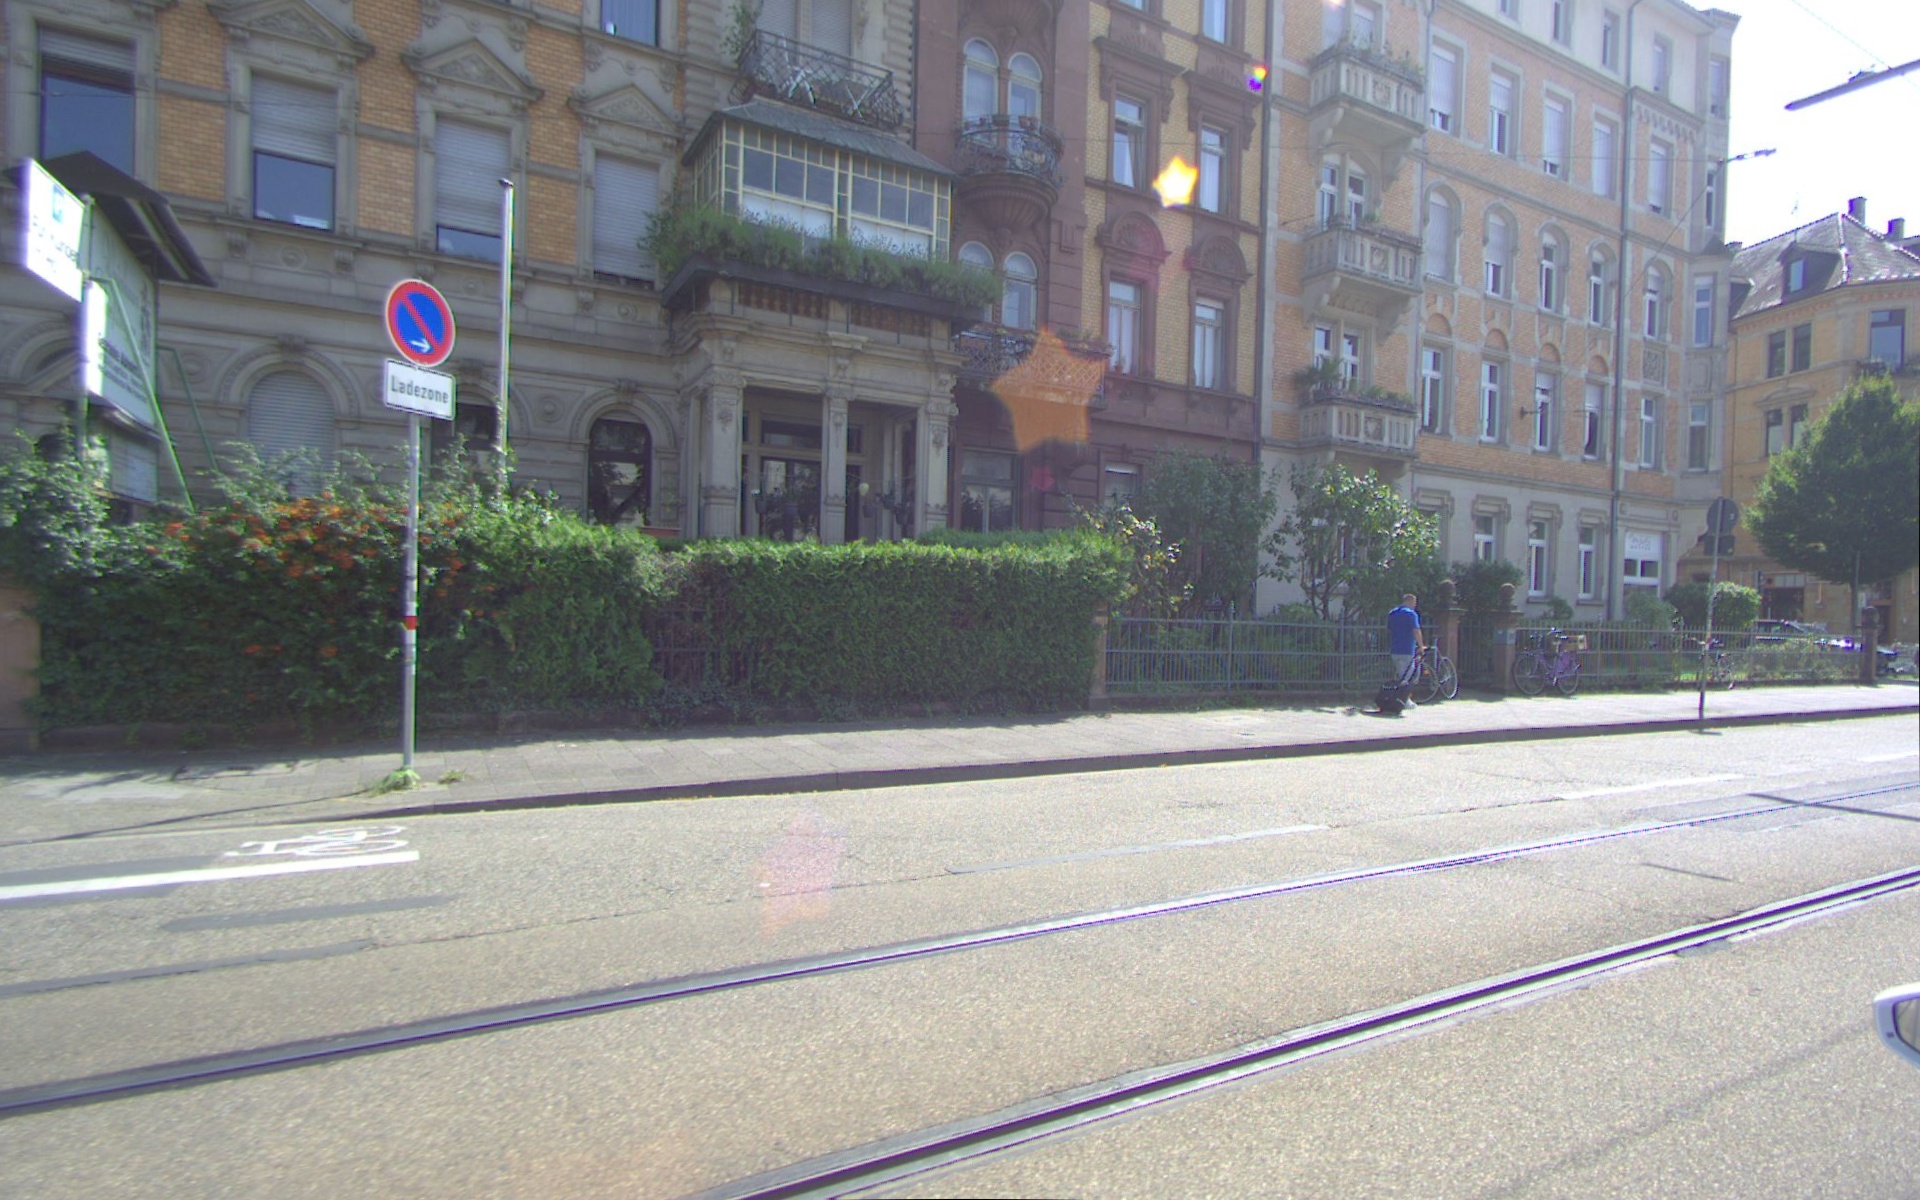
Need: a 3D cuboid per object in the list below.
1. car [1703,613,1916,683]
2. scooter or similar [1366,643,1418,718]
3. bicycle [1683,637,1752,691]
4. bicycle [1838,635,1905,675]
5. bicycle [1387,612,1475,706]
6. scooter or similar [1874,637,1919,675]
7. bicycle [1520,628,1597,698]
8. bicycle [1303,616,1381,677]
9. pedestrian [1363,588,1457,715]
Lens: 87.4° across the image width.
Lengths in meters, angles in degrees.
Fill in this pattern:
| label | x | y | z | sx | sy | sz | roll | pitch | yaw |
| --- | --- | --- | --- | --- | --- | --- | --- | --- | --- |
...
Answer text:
| label | x | y | z | sx | sy | sz | roll | pitch | yaw |
| --- | --- | --- | --- | --- | --- | --- | --- | --- | --- |
| car | 23.371 | 1.270 | 27.812 | 1.855 | 1.616 | 4.086 | 2 | 1 | -27 |
| scooter or similar | 6.063 | 1.120 | 14.101 | 0.579 | 0.995 | 0.397 | 1 | 2 | -37 |
| bicycle | 15.490 | 1.287 | 20.528 | 1.811 | 1.052 | 0.388 | 1 | 1 | -29 |
| bicycle | 27.495 | 1.658 | 30.326 | 1.429 | 1.113 | 0.389 | 2 | 1 | 39 |
| bicycle | 7.470 | 0.917 | 15.906 | 1.562 | 1.425 | 0.388 | 1 | 1 | -29 |
| scooter or similar | 28.777 | 1.709 | 30.735 | 1.368 | 1.113 | 0.595 | 1 | 1 | -19 |
| bicycle | 10.502 | 1.087 | 17.612 | 1.562 | 1.163 | 0.388 | 1 | 1 | -29 |
| bicycle | 7.046 | 0.845 | 18.565 | 0.387 | 1.046 | 1.392 | 1 | 1 | -31 |
| pedestrian | 6.570 | 0.734 | 14.687 | 0.859 | 1.779 | 0.879 | 1 | 0 | -29 |
